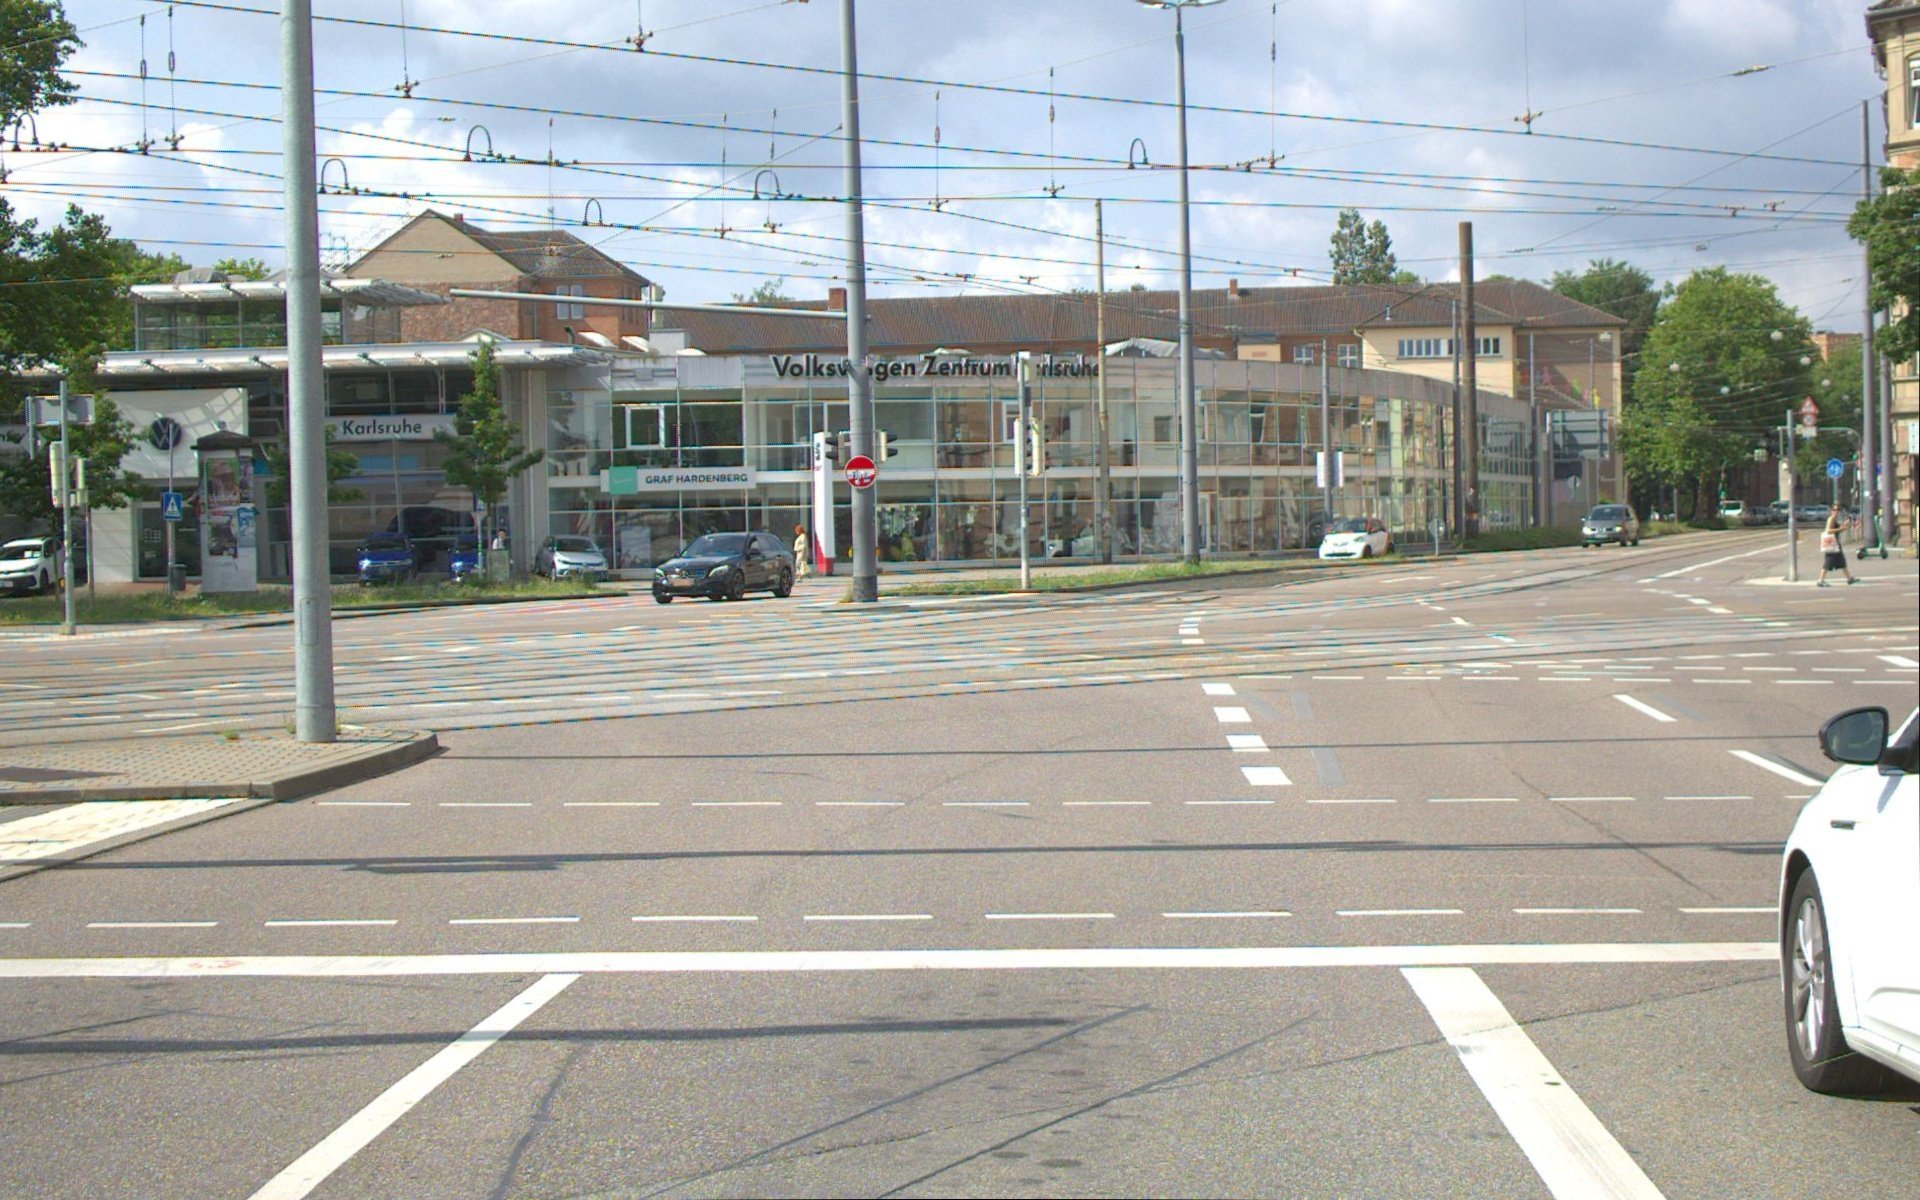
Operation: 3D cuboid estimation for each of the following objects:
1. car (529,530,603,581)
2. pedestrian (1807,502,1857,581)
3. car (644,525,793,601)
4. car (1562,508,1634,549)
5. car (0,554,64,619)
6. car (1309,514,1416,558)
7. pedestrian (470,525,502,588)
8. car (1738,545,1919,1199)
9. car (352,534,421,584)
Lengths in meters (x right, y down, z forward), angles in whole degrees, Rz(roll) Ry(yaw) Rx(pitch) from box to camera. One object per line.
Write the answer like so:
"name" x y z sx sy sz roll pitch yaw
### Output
"car" -12.641 -1.442 110.197 1.993 1.590 4.001 -1 1 -12
"pedestrian" 17.174 -1.155 67.730 0.673 1.530 0.674 -2 1 -40
"car" -5.056 -0.797 72.514 1.995 1.525 3.998 -1 1 14
"car" 25.784 -2.903 138.878 1.996 1.568 3.995 0 1 24
"car" -29.981 -0.449 109.928 1.993 2.007 4.001 -1 1 -6
"car" 13.676 -2.174 116.759 1.997 1.437 3.993 0 1 34
"pedestrian" -14.729 -1.344 106.785 0.881 1.941 0.888 -1 1 -12
"car" 3.091 0.622 7.592 1.848 1.467 4.335 0 1 1
"car" -18.151 -1.316 108.988 1.993 1.546 4.079 -1 1 -7
